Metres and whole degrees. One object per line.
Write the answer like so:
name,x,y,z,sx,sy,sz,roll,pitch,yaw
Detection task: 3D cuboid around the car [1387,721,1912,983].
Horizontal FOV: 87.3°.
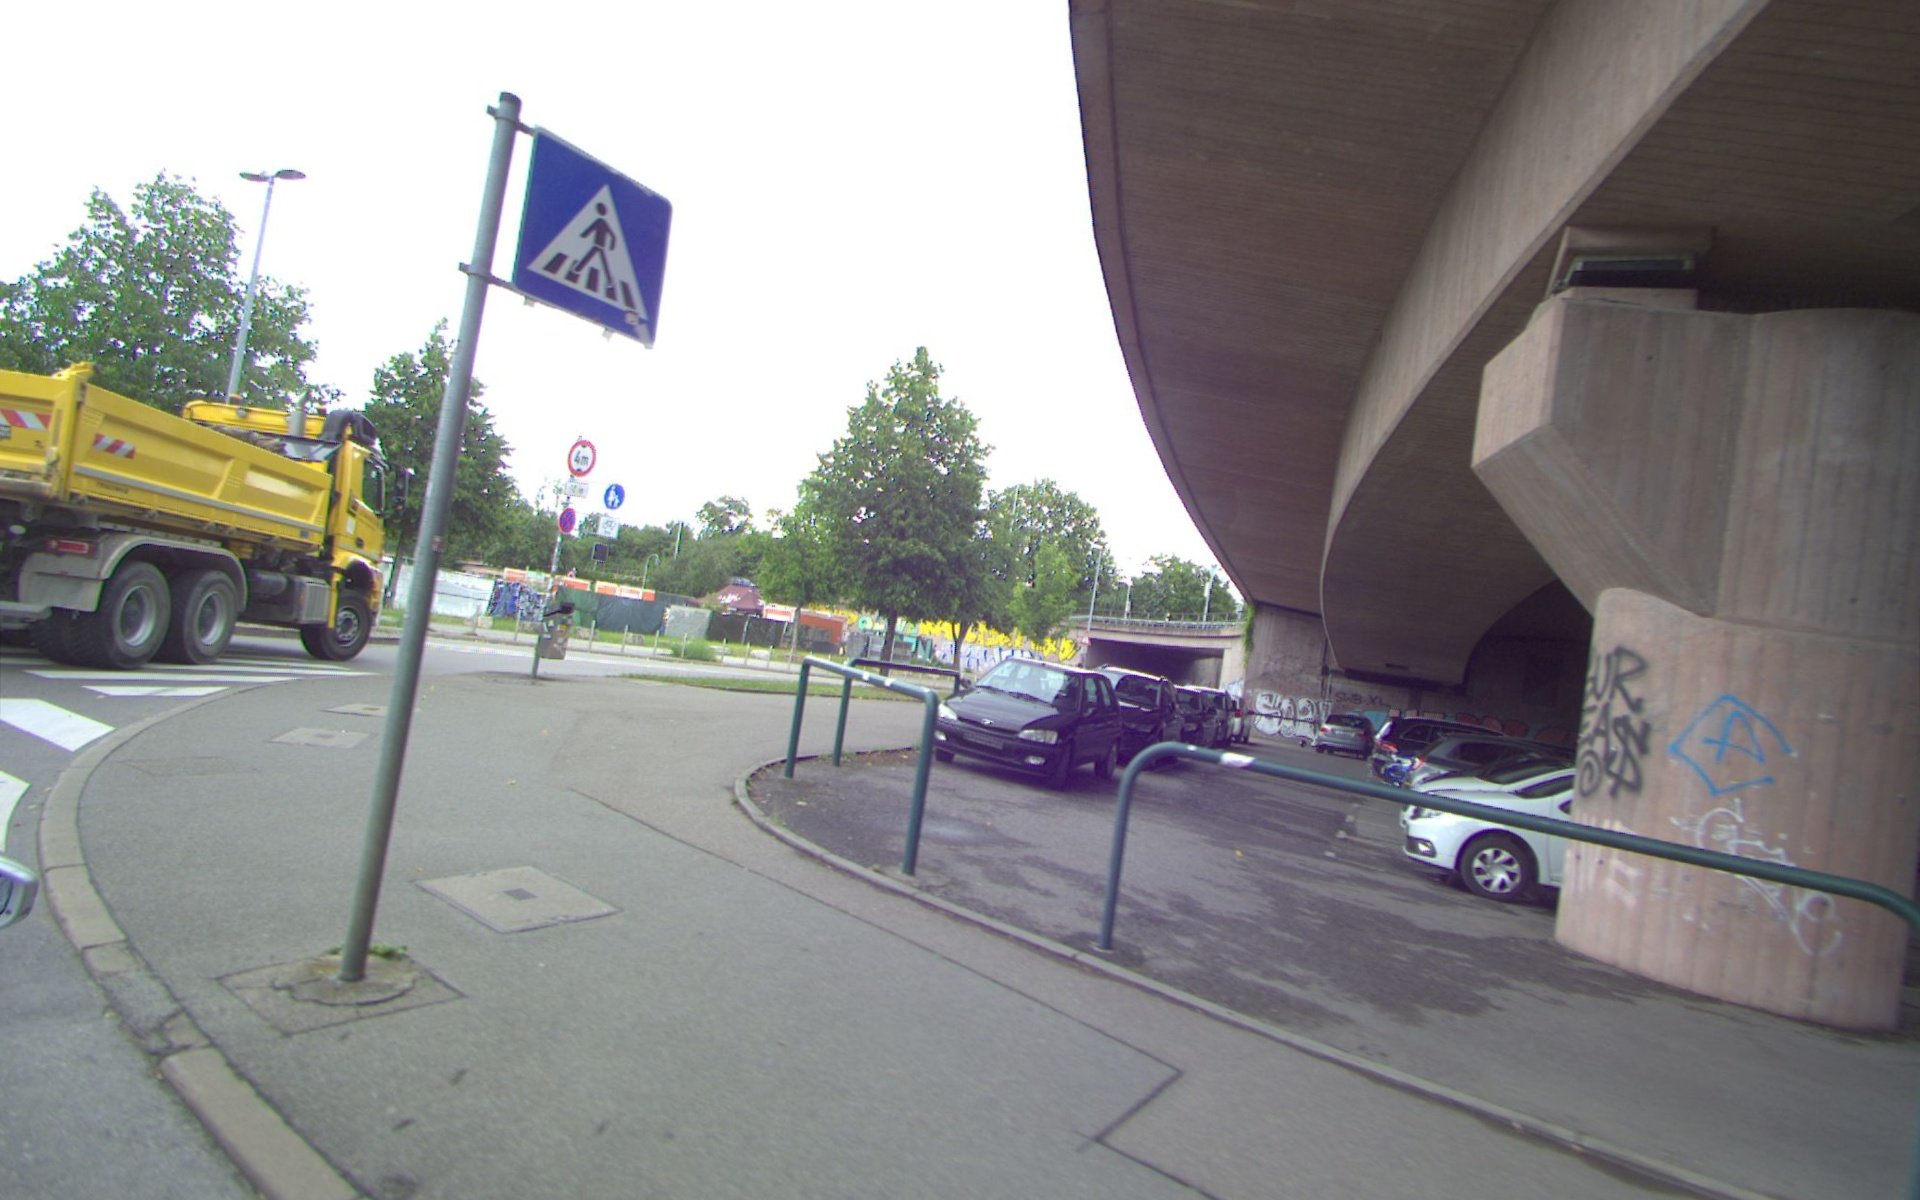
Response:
car,6.582,2.350,10.157,3.937,1.569,1.641,8,-2,21

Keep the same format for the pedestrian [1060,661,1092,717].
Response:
pedestrian,4.296,3.290,37.144,0.723,1.928,0.826,8,-2,21

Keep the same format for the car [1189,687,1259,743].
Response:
car,8.574,3.728,32.531,1.550,1.455,3.381,8,-3,24

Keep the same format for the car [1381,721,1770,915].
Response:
car,7.624,2.661,12.892,3.789,1.526,1.701,8,-2,18

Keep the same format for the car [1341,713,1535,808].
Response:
car,11.216,3.733,23.870,3.789,1.450,1.760,8,-2,18

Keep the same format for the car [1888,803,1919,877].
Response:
car,22.086,5.376,20.925,3.597,1.443,1.680,8,-2,24

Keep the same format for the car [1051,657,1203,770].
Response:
car,2.981,1.942,17.180,1.482,1.435,4.254,10,-3,22

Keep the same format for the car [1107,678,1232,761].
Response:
car,4.662,2.590,21.855,1.740,1.335,4.379,8,-3,23

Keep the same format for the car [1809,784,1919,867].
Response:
car,24.197,5.876,25.517,3.597,1.616,1.680,8,-2,24

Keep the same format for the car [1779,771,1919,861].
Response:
car,25.193,5.986,27.641,3.597,1.808,1.885,8,-2,24

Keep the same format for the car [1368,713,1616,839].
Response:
car,10.045,3.291,19.322,3.789,1.573,1.760,8,-2,18

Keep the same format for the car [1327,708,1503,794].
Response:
car,11.643,3.848,26.001,3.789,1.454,1.760,8,-2,18

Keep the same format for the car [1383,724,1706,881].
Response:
car,8.612,2.954,15.211,3.789,1.459,1.701,8,-2,18

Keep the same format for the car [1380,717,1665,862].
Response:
car,9.361,3.122,17.094,3.789,1.573,1.701,8,-2,18

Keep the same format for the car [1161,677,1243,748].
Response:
car,6.679,3.062,27.503,1.587,1.552,4.075,9,-3,20

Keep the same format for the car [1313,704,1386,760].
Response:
car,13.239,4.464,34.060,1.719,1.515,4.000,8,-3,28

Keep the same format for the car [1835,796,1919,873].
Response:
car,22.940,5.677,23.275,3.597,1.443,1.680,8,-2,24

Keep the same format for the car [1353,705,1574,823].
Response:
car,10.614,3.420,21.511,3.789,1.713,1.760,8,-2,18

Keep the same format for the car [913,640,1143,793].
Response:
car,0.997,1.433,12.398,1.483,1.344,3.703,10,-3,24

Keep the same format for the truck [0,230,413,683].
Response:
truck,-9.624,-1.211,12.155,2.721,3.740,7.871,7,-3,-11

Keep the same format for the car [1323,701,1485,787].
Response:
car,12.383,3.996,28.306,3.789,1.656,1.760,8,-2,18
